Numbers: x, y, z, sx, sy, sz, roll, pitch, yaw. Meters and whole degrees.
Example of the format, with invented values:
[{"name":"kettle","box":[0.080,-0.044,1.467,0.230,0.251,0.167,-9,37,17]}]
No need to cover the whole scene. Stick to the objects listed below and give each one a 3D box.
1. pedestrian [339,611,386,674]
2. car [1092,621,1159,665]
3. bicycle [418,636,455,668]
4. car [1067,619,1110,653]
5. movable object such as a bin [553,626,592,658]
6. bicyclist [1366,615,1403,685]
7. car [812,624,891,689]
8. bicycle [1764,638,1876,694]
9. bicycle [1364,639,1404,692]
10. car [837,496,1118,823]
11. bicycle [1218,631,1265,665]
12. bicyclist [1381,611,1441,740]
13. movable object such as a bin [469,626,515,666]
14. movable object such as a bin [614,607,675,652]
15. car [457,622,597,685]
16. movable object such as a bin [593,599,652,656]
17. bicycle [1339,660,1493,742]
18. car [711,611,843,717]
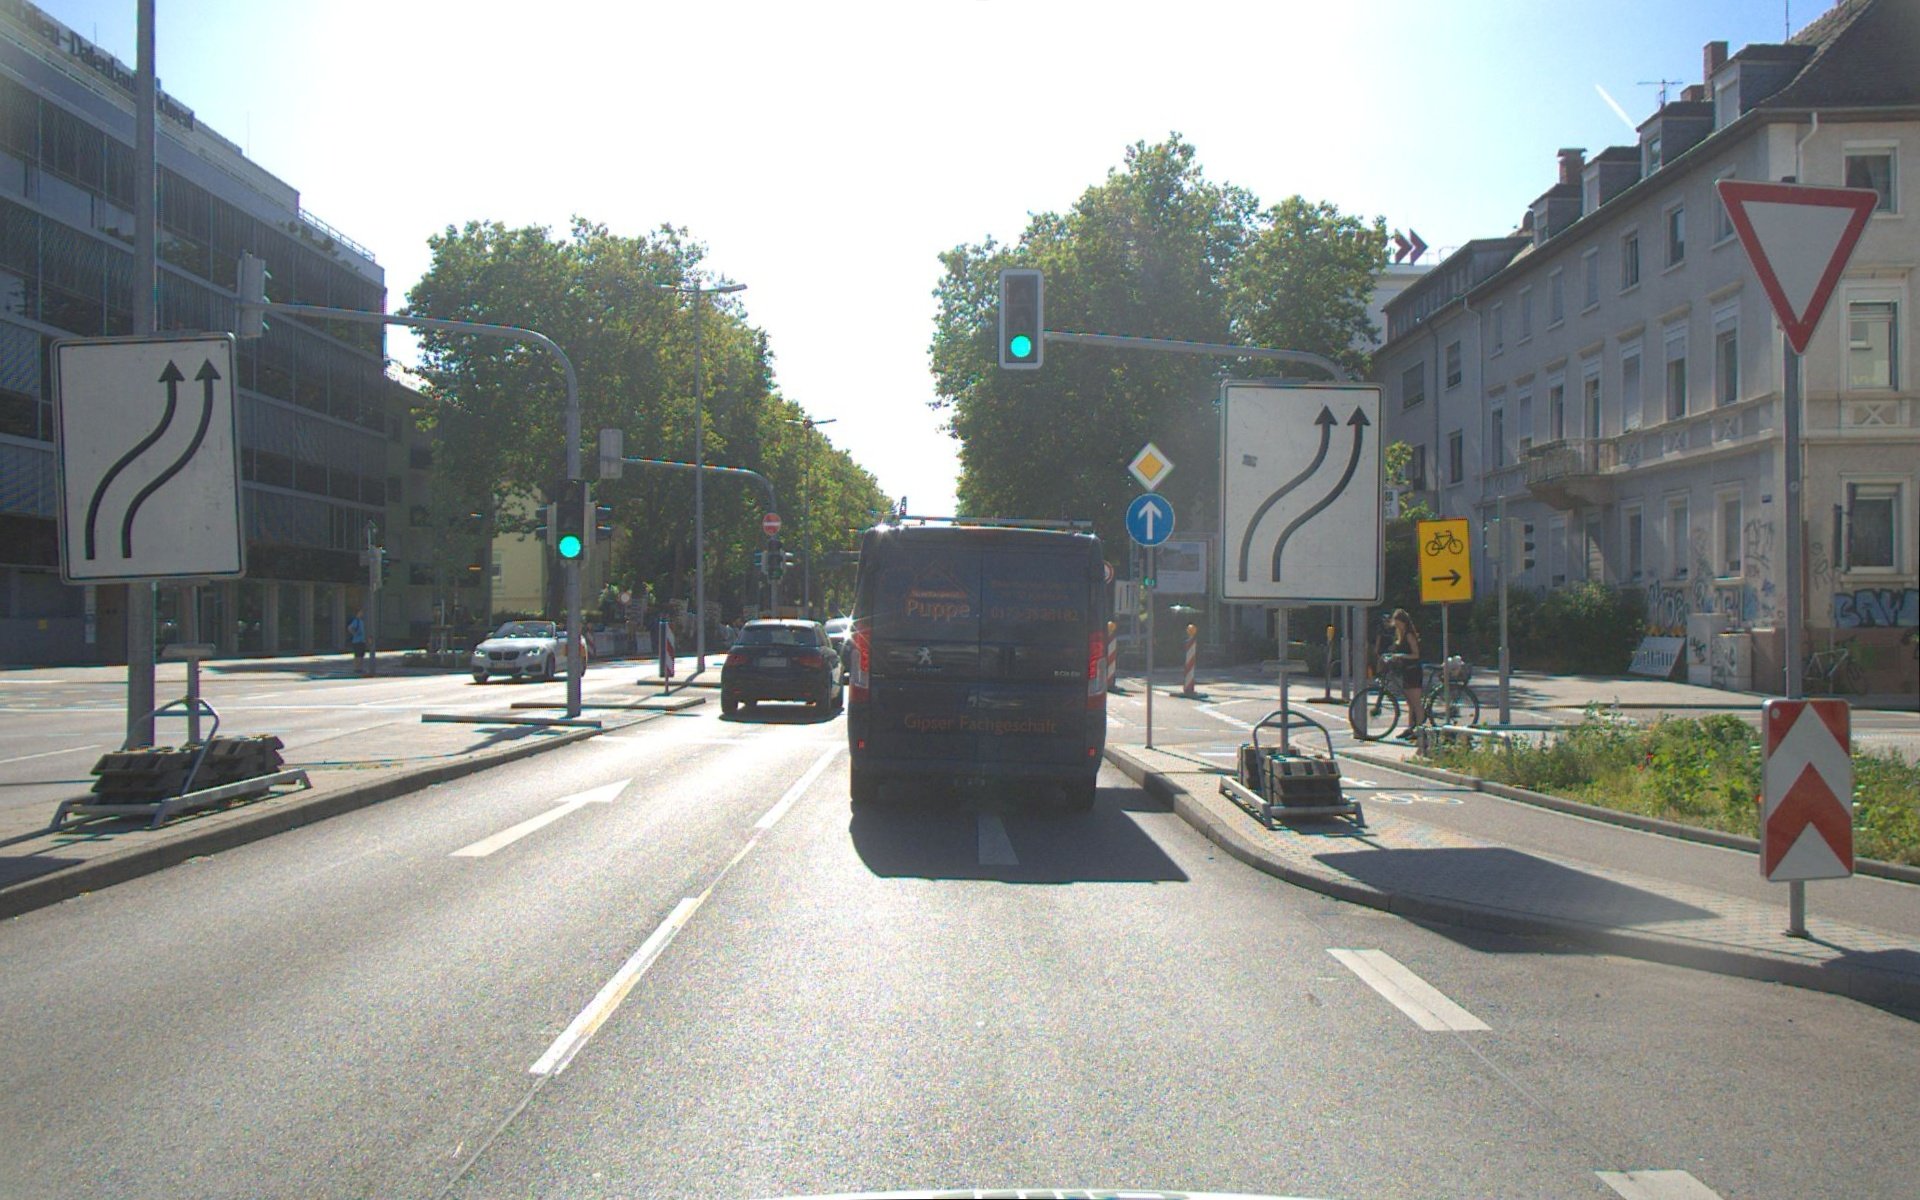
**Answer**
[{"name":"pedestrian","box":[-16.517,1.164,45.708,0.846,1.741,1.013,0,-1,7]},{"name":"car","box":[5.907,1.527,59.556,1.814,1.505,4.940,0,-1,-1]},{"name":"bicycle","box":[-18.212,1.806,57.558,0.614,1.055,1.879,0,-1,1]},{"name":"car","box":[6.101,1.696,78.782,1.727,1.534,4.250,0,-1,0]},{"name":"movable object such as a bin","box":[-16.517,1.787,70.529,1.381,1.361,0.936,0,-1,2]},{"name":"bicyclist","box":[9.427,1.107,36.738,0.709,1.526,0.871,0,-1,20]},{"name":"car","box":[-2.569,1.330,39.940,1.711,1.432,3.998,1,-1,-2]},{"name":"bicycle","box":[17.435,1.341,33.542,1.955,1.099,0.579,0,-1,2]},{"name":"bicycle","box":[9.477,1.450,36.919,0.674,1.117,1.687,0,-1,21]},{"name":"car","box":[0.109,0.446,14.239,2.052,2.396,3.932,1,0,-1]},{"name":"bicycle","box":[8.669,1.463,50.844,0.577,1.023,2.124,0,-1,34]},{"name":"bicyclist","box":[6.159,1.014,22.626,0.591,1.738,0.858,0,-1,0]},{"name":"movable object such as a bin","box":[-16.986,1.673,60.099,1.091,1.413,1.856,0,-1,2]},{"name":"movable object such as a bin","box":[-16.967,1.574,89.166,1.952,2.318,5.600,-1,-1,3]},{"name":"car","box":[-10.023,1.206,38.626,1.890,1.369,4.318,0,0,4]},{"name":"movable object such as a bin","box":[-16.875,1.383,82.988,2.103,2.754,5.351,0,-1,-3]},{"name":"bicycle","box":[6.211,1.371,22.568,1.922,1.043,0.605,2,0,-1]},{"name":"car","box":[-2.826,0.947,26.225,1.711,1.432,3.999,1,1,-2]}]
